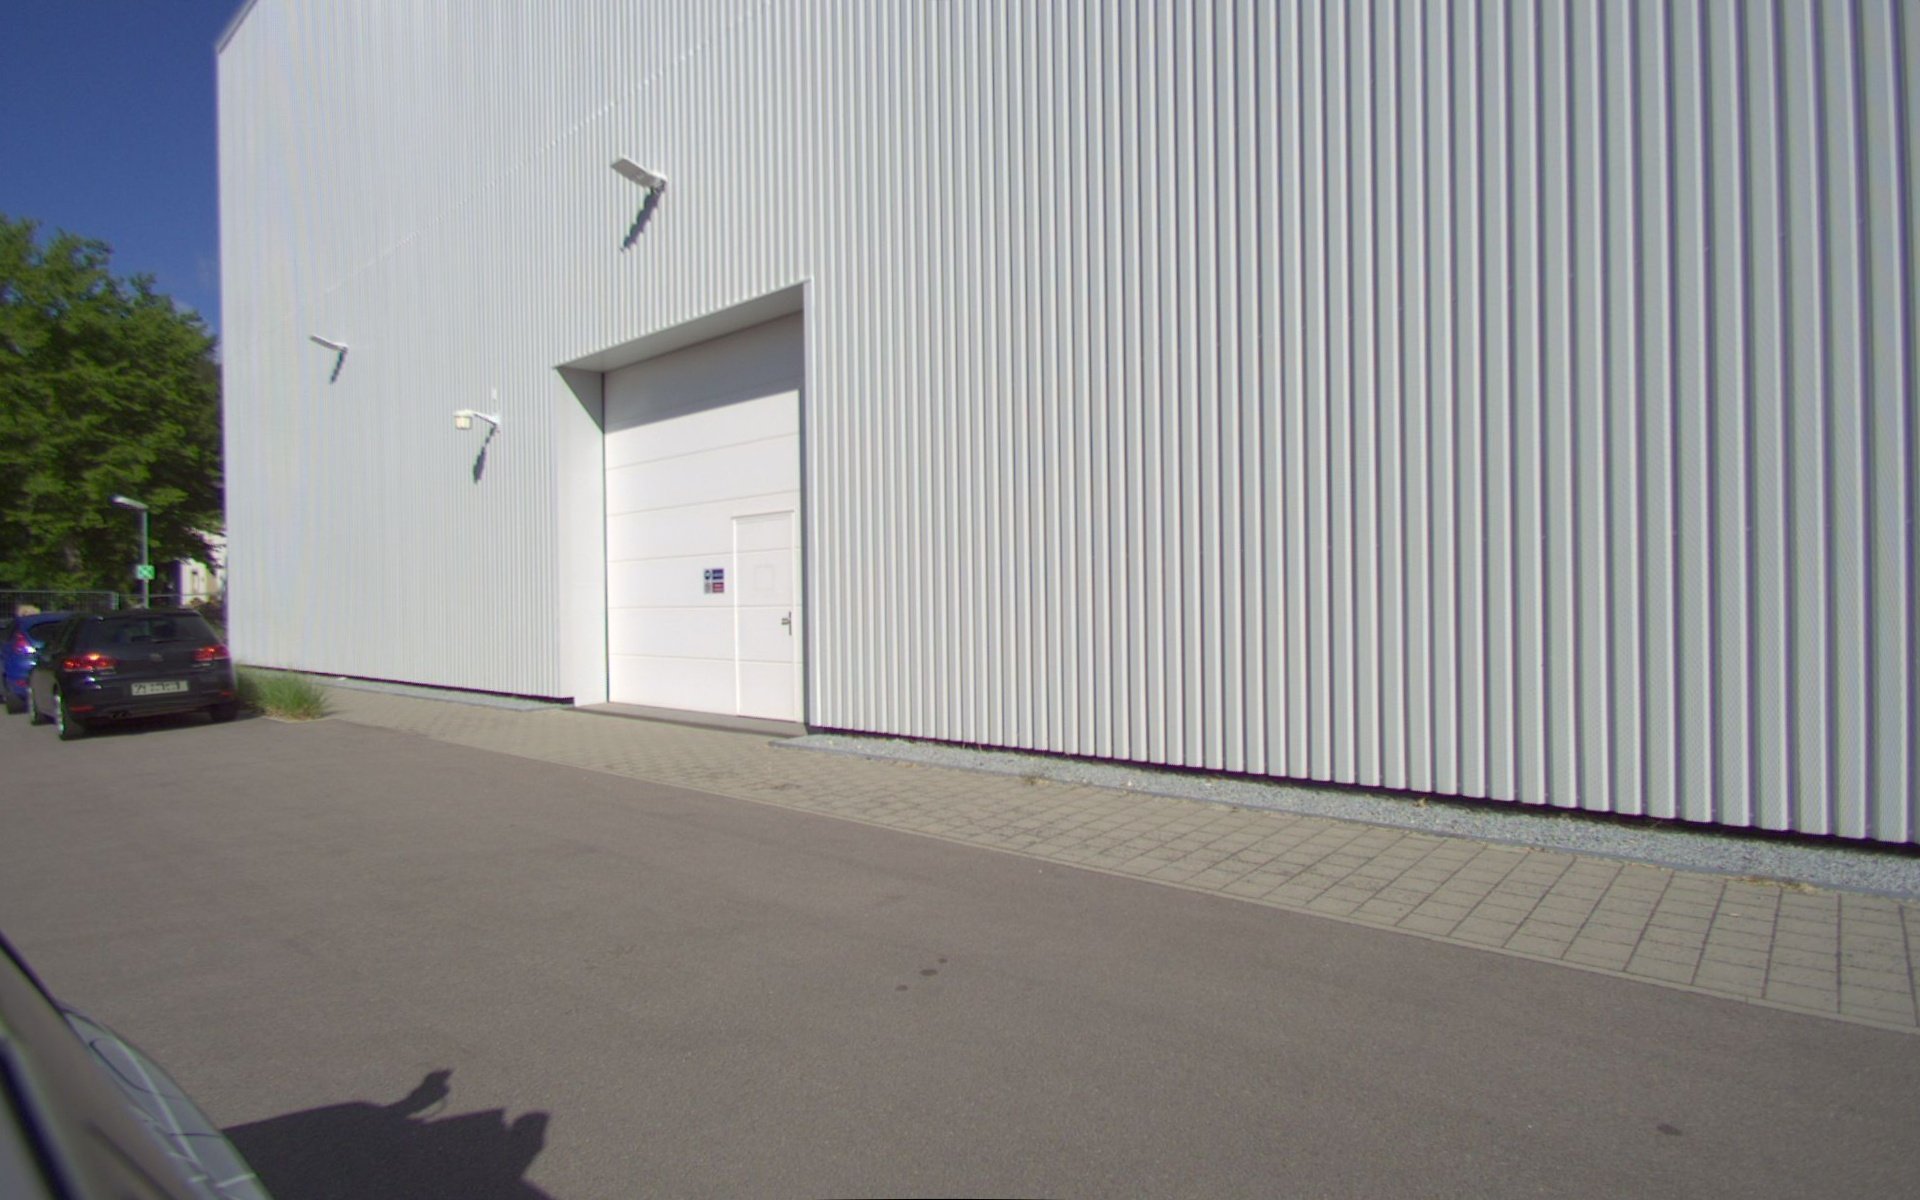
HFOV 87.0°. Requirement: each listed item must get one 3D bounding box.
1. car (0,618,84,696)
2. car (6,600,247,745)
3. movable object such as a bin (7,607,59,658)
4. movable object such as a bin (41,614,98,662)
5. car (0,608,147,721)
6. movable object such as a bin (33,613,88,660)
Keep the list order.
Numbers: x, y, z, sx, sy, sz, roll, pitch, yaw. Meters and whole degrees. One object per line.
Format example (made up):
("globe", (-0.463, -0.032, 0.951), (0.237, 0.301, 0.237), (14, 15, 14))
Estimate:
("car", (-18.741, 1.084, 19.863), (4.051, 1.371, 1.756), (-1, 0, 41))
("car", (-10.902, 0.826, 13.128), (4.292, 1.511, 1.736), (-1, 1, 42))
("movable object such as a bin", (-31.204, 1.069, 34.069), (1.228, 1.609, 1.080), (1, 1, 36))
("movable object such as a bin", (-28.448, 1.201, 32.320), (1.228, 1.443, 1.080), (0, 2, 36))
("car", (-14.633, 0.947, 16.293), (4.092, 1.511, 1.614), (-1, 2, 40))
("movable object such as a bin", (-29.474, 1.185, 33.172), (1.228, 1.450, 1.080), (0, 2, 36))
